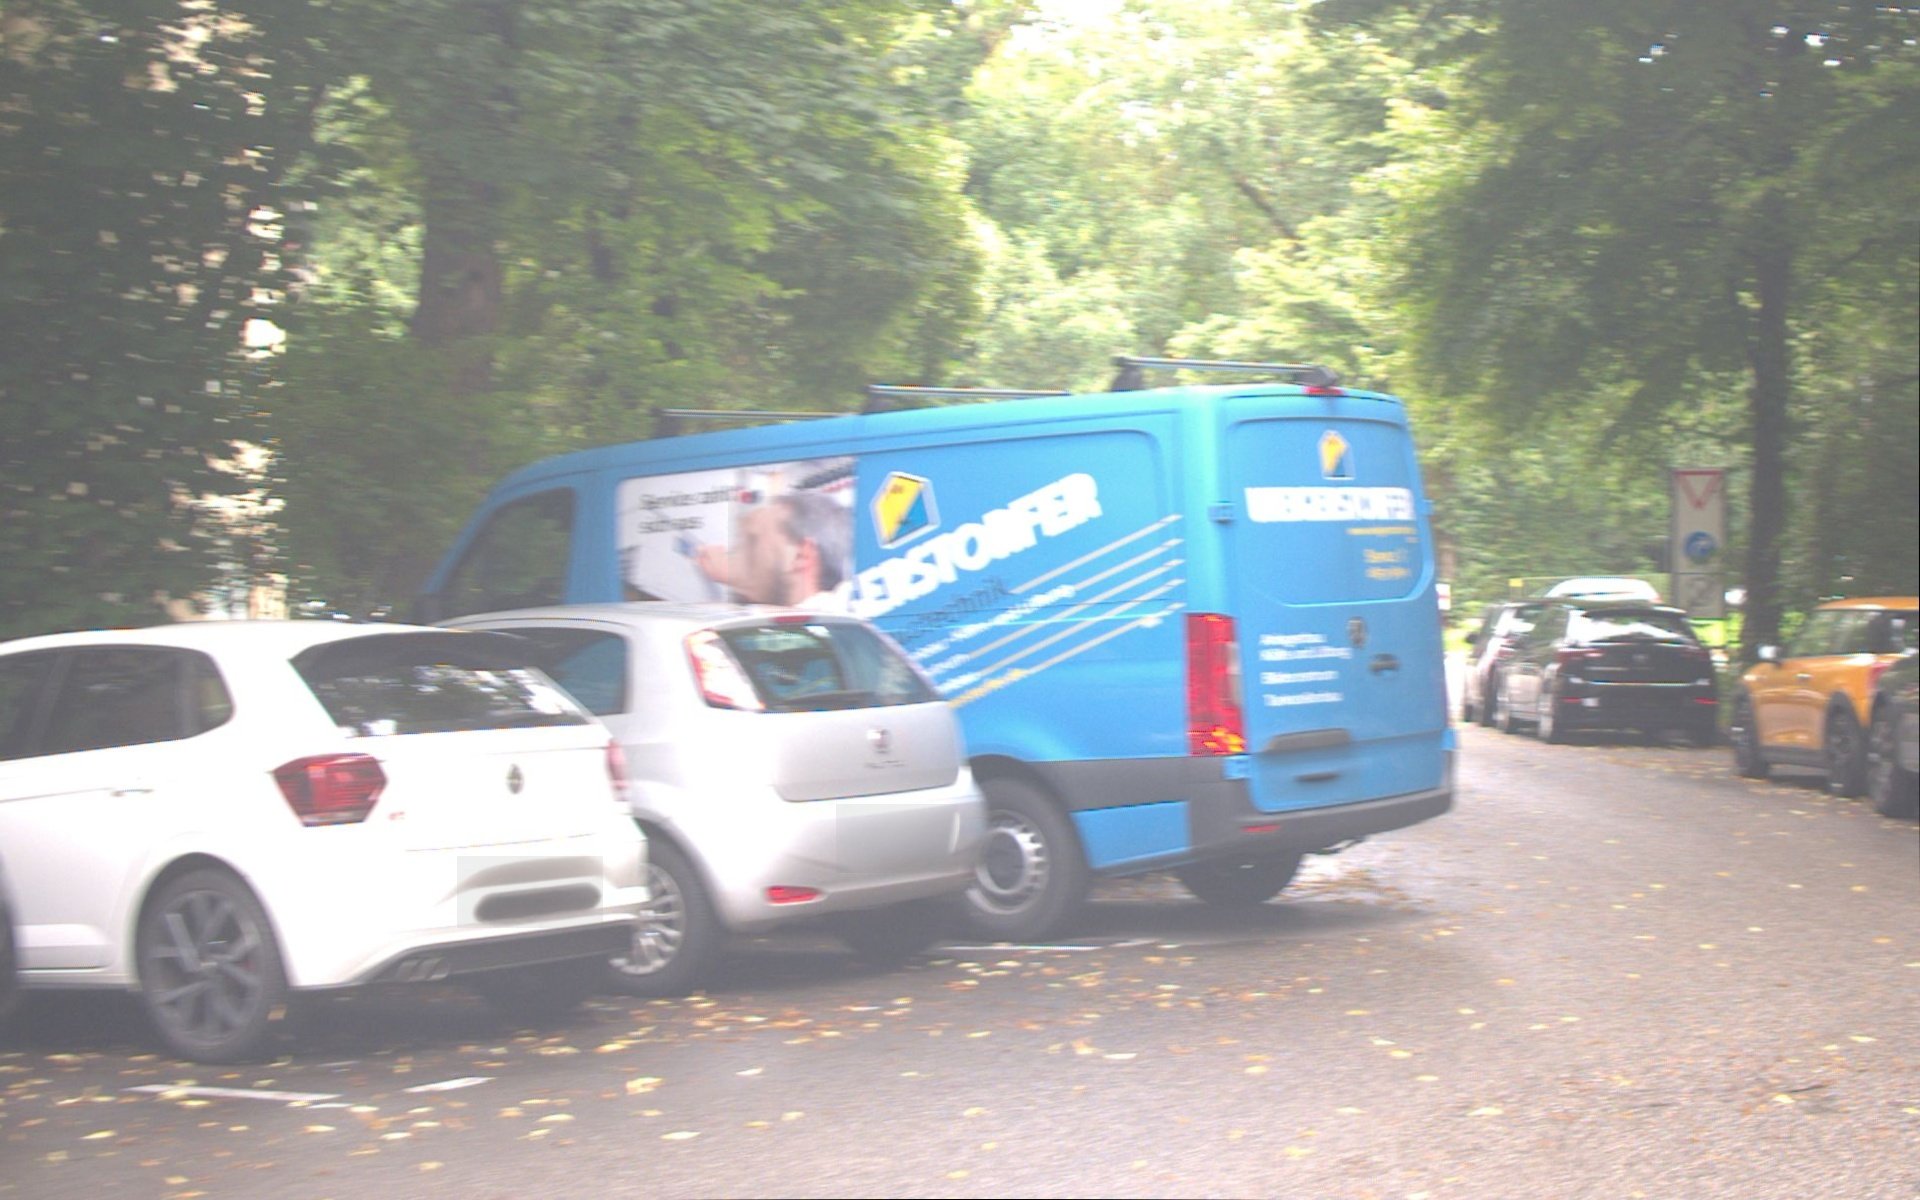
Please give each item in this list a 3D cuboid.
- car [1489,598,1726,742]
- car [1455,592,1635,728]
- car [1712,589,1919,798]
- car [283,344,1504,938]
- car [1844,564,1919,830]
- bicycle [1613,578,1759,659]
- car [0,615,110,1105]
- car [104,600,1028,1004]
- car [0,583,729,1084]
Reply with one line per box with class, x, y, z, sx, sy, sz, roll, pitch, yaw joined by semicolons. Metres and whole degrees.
car;6.618;0.680;35.524;1.681;1.353;4.009;0;1;0
car;6.718;0.661;39.779;1.648;1.469;3.643;0;0;3
car;6.930;0.639;25.669;1.618;1.408;3.780;0;1;-3
car;-0.456;0.269;16.024;5.488;2.346;2.061;-3;-1;36
car;6.773;0.595;20.646;1.831;1.623;4.525;0;1;1
bicycle;9.076;0.232;43.006;1.753;0.978;0.273;-1;0;10
car;-4.646;0.898;10.729;3.745;1.421;1.829;-5;-2;36
car;-1.660;0.772;14.004;3.549;1.428;1.640;-2;-1;37
car;-3.112;0.856;12.478;4.280;1.508;1.800;-5;-2;35
